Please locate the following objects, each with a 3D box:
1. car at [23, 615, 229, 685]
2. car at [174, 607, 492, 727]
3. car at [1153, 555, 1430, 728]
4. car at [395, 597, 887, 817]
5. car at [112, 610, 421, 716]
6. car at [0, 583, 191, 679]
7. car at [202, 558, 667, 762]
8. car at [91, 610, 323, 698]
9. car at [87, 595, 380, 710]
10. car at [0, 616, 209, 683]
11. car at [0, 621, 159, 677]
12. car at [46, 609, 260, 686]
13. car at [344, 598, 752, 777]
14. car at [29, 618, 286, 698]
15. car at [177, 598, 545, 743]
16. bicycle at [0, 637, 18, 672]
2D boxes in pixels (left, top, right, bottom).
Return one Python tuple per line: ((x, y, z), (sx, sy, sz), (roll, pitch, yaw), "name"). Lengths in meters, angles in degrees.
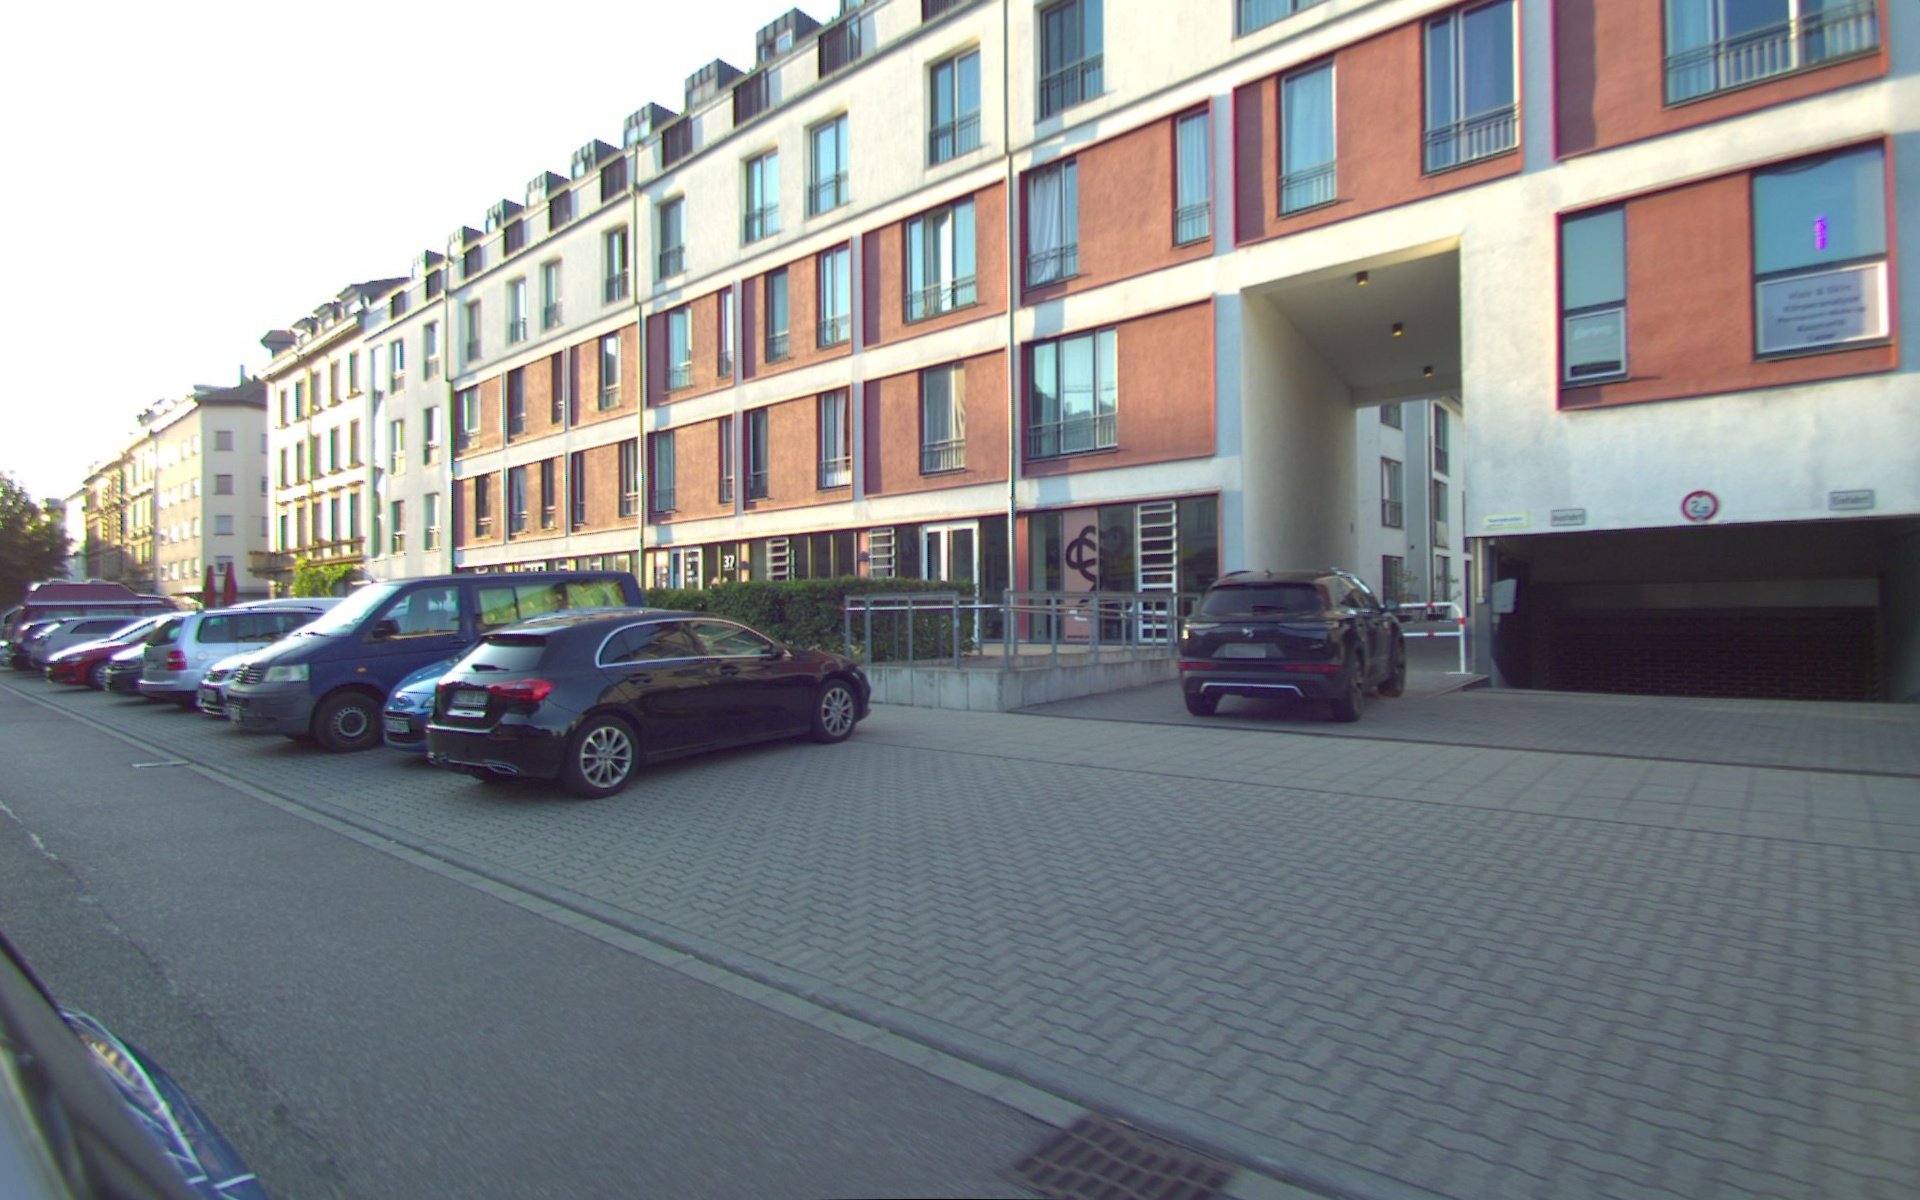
((-21.358, 1.224, 26.024), (1.755, 1.551, 3.905), (-1, 0, 43), "car")
((-9.822, 0.955, 16.100), (1.795, 1.630, 3.949), (-2, -1, 38), "car")
((4.028, 0.421, 11.867), (1.995, 1.646, 3.953), (-2, -1, 35), "car")
((-2.687, 0.772, 9.397), (1.735, 1.426, 4.101), (-1, 1, 36), "car")
((-11.832, 0.997, 17.526), (2.047, 1.601, 3.956), (-1, -1, 32), "car")
((-25.201, 0.832, 29.348), (1.931, 2.576, 4.354), (-1, -1, 42), "car")
((-6.357, 0.621, 12.715), (2.000, 2.070, 4.801), (-2, -1, 43), "car")
((-15.397, 1.033, 20.803), (1.782, 1.574, 3.496), (-1, 0, 39), "car")
((-13.571, 0.889, 19.108), (1.895, 1.910, 4.138), (-2, -1, 38), "car")
((-23.229, 1.277, 27.460), (1.705, 1.536, 4.291), (-1, 0, 41), "car")
((-27.182, 1.448, 30.885), (1.800, 1.426, 3.943), (-1, 1, 35), "car")
((-19.384, 1.082, 24.417), (1.700, 1.629, 3.844), (-1, 0, 43), "car")
((-4.349, 0.803, 11.178), (1.652, 1.504, 3.847), (-1, 1, 38), "car")
((-17.563, 1.191, 22.313), (1.788, 1.505, 4.217), (-1, -1, 42), "car")
((-8.375, 0.866, 14.415), (1.901, 1.736, 4.140), (-2, -1, 42), "car")
((-30.983, 1.737, 32.576), (2.414, 1.061, 0.794), (-1, 1, 43), "bicycle")
